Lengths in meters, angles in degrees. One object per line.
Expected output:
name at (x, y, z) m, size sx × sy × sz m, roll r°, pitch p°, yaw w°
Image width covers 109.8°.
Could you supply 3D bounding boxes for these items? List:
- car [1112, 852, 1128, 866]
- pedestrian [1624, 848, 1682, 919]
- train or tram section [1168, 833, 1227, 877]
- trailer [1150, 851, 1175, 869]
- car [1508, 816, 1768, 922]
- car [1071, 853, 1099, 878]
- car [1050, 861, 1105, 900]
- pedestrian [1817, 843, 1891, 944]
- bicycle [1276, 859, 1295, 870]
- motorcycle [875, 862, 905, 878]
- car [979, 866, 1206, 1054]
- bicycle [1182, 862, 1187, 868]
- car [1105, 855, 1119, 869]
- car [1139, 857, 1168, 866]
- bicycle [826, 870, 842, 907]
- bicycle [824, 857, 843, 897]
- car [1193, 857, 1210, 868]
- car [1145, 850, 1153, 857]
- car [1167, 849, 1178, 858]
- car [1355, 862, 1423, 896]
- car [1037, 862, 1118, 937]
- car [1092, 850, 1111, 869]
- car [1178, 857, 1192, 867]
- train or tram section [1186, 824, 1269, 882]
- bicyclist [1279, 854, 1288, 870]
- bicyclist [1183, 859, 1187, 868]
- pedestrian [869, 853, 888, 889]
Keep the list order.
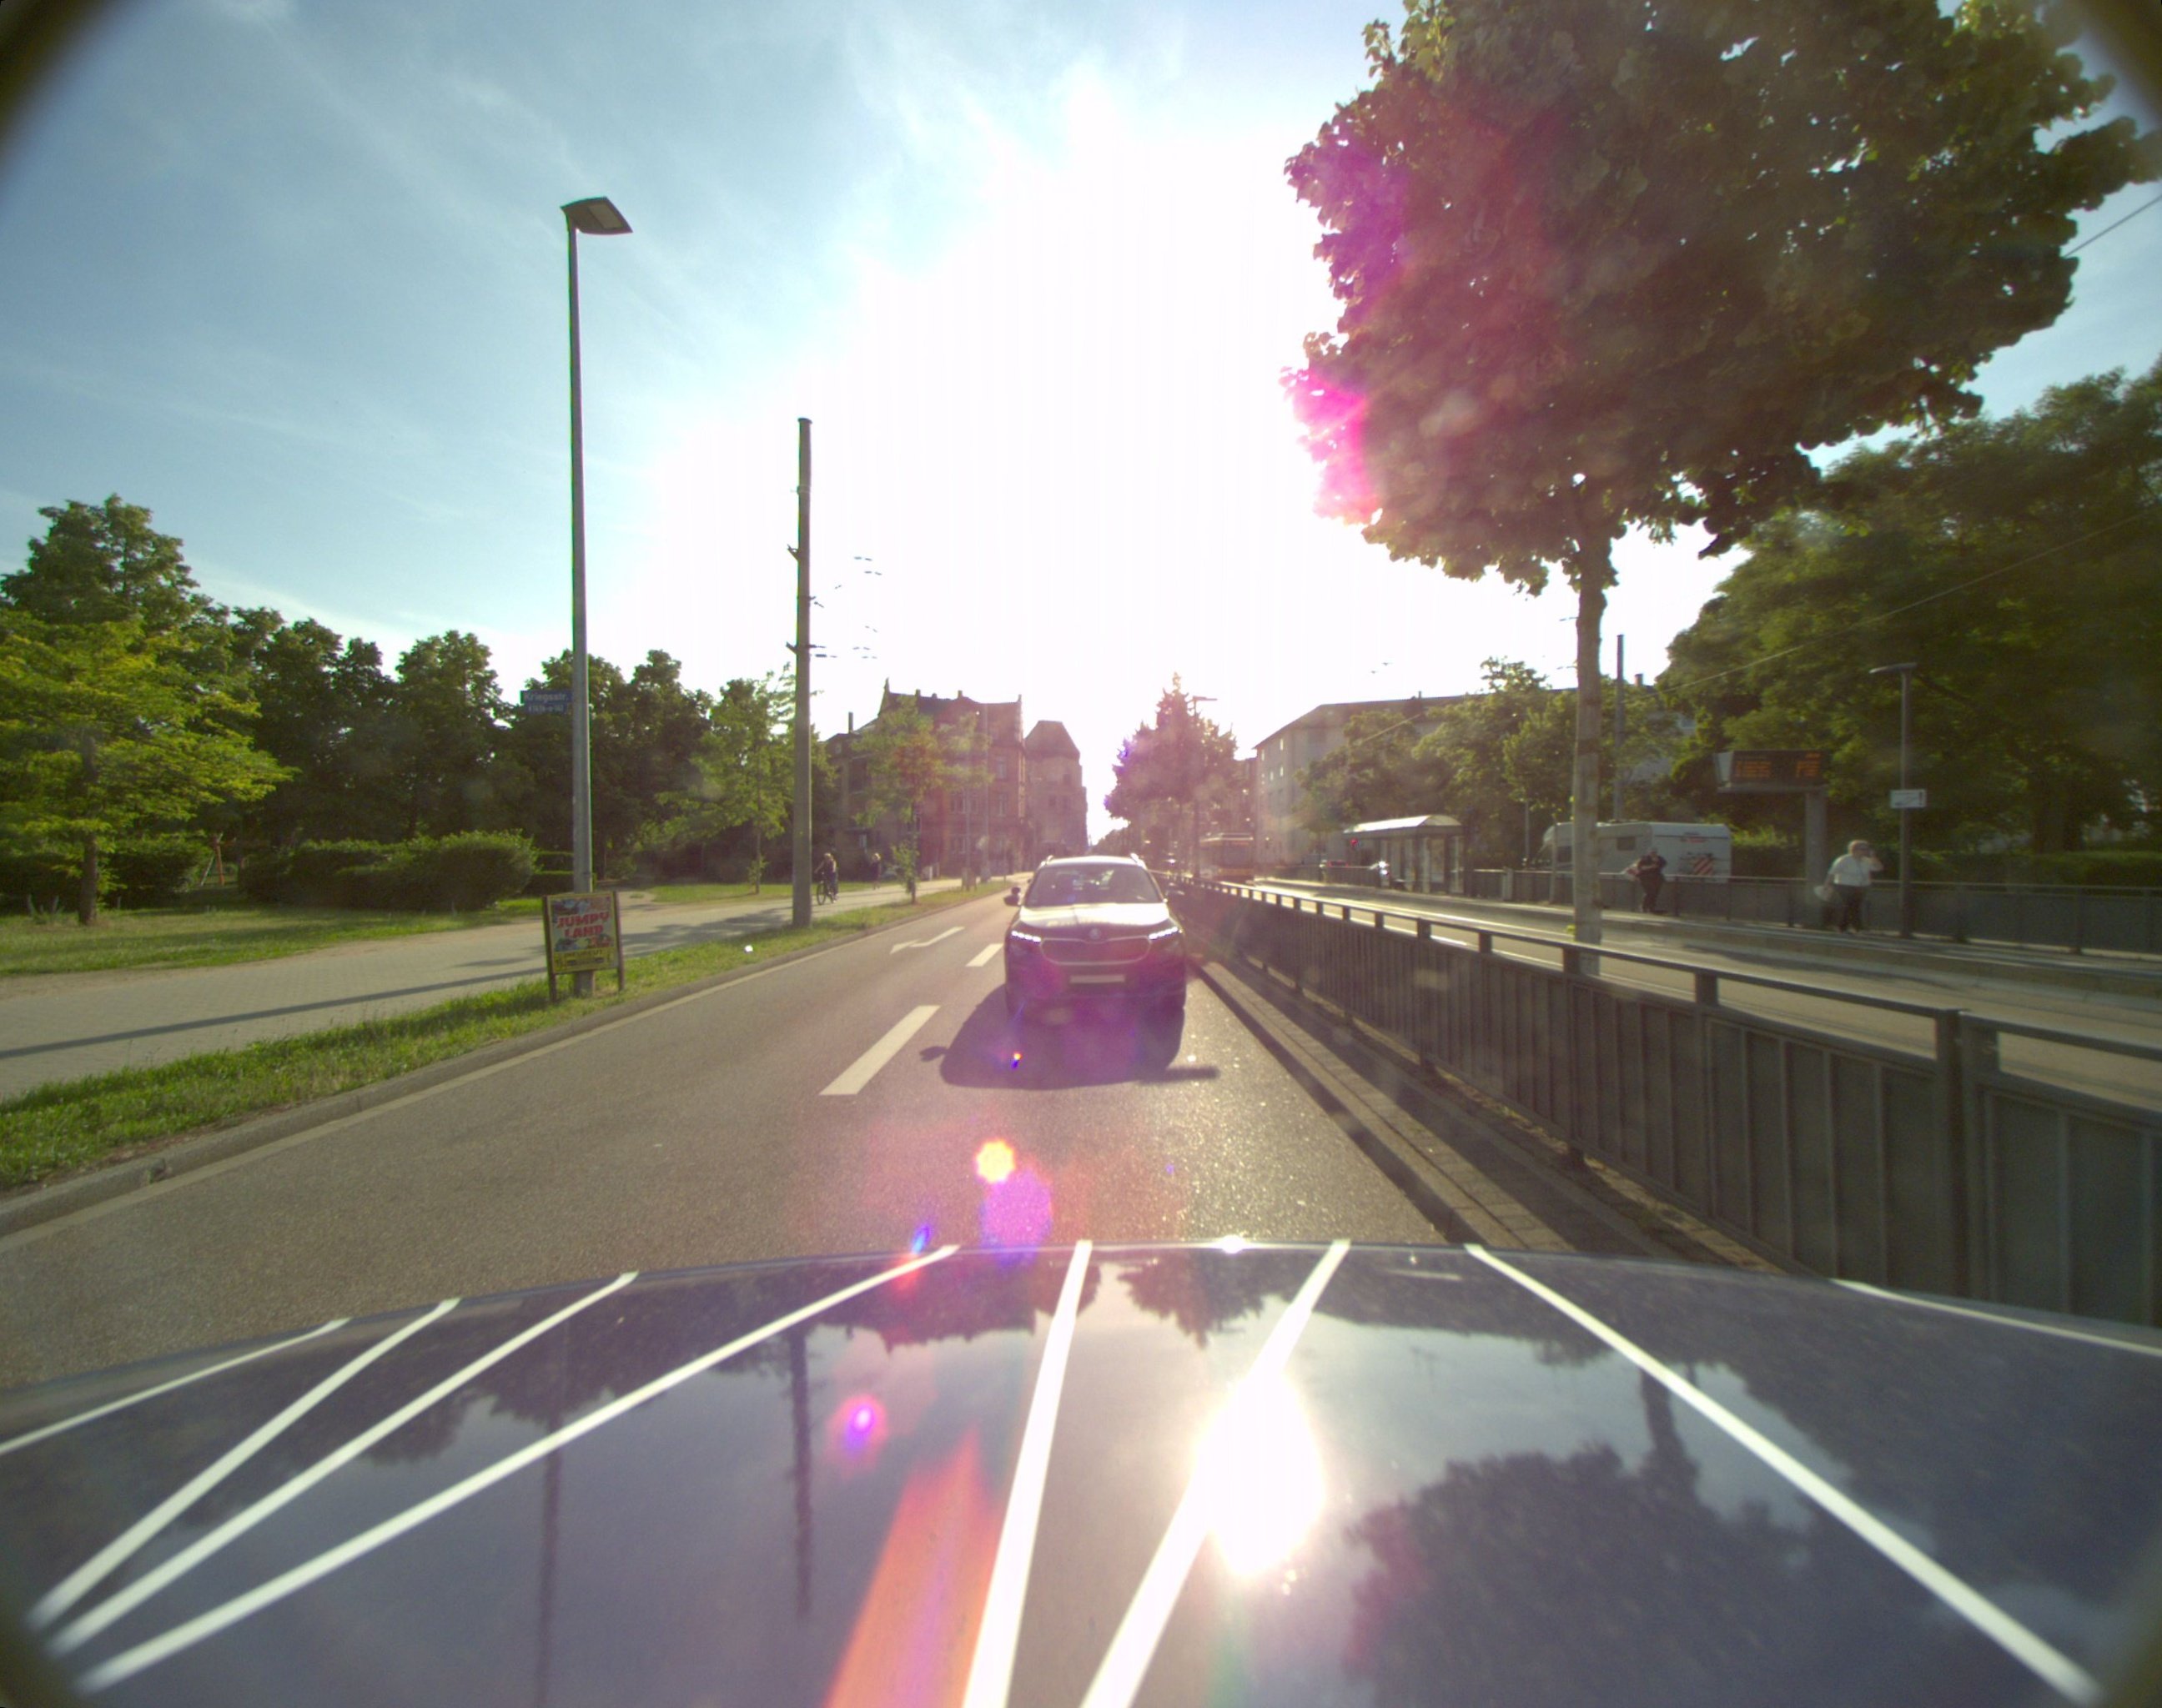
car at (5.521, 0.678, 108.115) m, size 1.999 × 2.002 × 3.999 m, roll 0°, pitch 0°, yaw -2°
pedestrian at (13.516, 0.675, 17.978) m, size 0.666 × 1.632 × 0.863 m, roll -1°, pitch 0°, yaw -16°
train or tram section at (10.110, 0.095, 67.938) m, size 3.169 × 3.459 × 14.533 m, roll -1°, pitch 0°, yaw 1°
trailer at (11.135, 0.863, 103.627) m, size 2.858 × 2.378 × 1.726 m, roll -1°, pitch 0°, yaw 32°
car at (16.662, 0.414, 23.587) m, size 2.603 × 2.719 × 7.468 m, roll -1°, pitch 0°, yaw 0°
car at (0.294, 0.849, 57.596) m, size 1.998 × 1.772 × 4.000 m, roll 0°, pitch 0°, yaw 0°
car at (-0.070, 1.088, 33.031) m, size 1.998 × 1.564 × 4.002 m, roll -1°, pitch 0°, yaw 5°
pedestrian at (12.882, 0.644, 12.676) m, size 0.583 × 1.631 × 0.607 m, roll 1°, pitch 0°, yaw -4°
bicycle at (21.204, 1.097, 78.784) m, size 1.912 × 1.104 × 0.736 m, roll 0°, pitch 0°, yaw 21°
motorcycle at (-13.967, 1.158, 55.596) m, size 2.002 × 1.153 × 0.708 m, roll -1°, pitch 0°, yaw -5°
car at (0.186, 0.889, 8.162) m, size 1.839 × 1.472 × 4.001 m, roll 0°, pitch 0°, yaw 3°
bicycle at (16.971, 1.781, 124.399) m, size 0.543 × 1.012 × 2.251 m, roll -1°, pitch 0°, yaw 4°
car at (4.779, 1.227, 117.324) m, size 1.998 × 2.002 × 4.000 m, roll 0°, pitch 0°, yaw 1°
car at (11.535, 1.223, 121.228) m, size 4.294 × 1.414 × 1.963 m, roll -1°, pitch 0°, yaw 42°
bicycle at (-8.170, 1.120, 25.136) m, size 0.485 × 1.183 × 1.337 m, roll -1°, pitch 0°, yaw -17°
bicycle at (-8.191, 0.745, 25.184) m, size 0.575 × 1.290 × 0.687 m, roll -1°, pitch 0°, yaw -17°
car at (19.054, 1.315, 120.386) m, size 2.170 × 1.739 × 4.612 m, roll -1°, pitch 0°, yaw 3°
car at (20.700, -0.087, 230.302) m, size 1.998 × 2.002 × 4.000 m, roll -1°, pitch 0°, yaw 0°
car at (21.107, -0.131, 175.505) m, size 1.998 × 2.002 × 4.000 m, roll -1°, pitch 0°, yaw 1°
car at (16.503, 1.313, 40.909) m, size 1.999 × 1.674 × 4.000 m, roll -1°, pitch 0°, yaw -1°
car at (-0.077, 1.173, 21.050) m, size 1.998 × 1.827 × 4.000 m, roll -1°, pitch 0°, yaw 0°
car at (2.212, 0.554, 83.080) m, size 1.998 × 2.002 × 4.000 m, roll 0°, pitch 0°, yaw 1°
car at (19.481, 1.509, 141.983) m, size 2.170 × 1.890 × 4.612 m, roll -1°, pitch 0°, yaw 3°
train or tram section at (9.892, -0.003, 53.512) m, size 3.169 × 3.459 × 14.473 m, roll -1°, pitch 0°, yaw 1°
bicyclist at (21.037, 0.788, 78.823) m, size 0.771 × 1.632 × 0.796 m, roll 0°, pitch 0°, yaw 22°
bicyclist at (17.035, 1.567, 124.614) m, size 0.652 × 1.405 × 0.717 m, roll -1°, pitch 0°, yaw 6°
pedestrian at (-9.726, 0.812, 36.494) m, size 0.616 × 1.682 × 0.549 m, roll 5°, pitch 1°, yaw 4°
